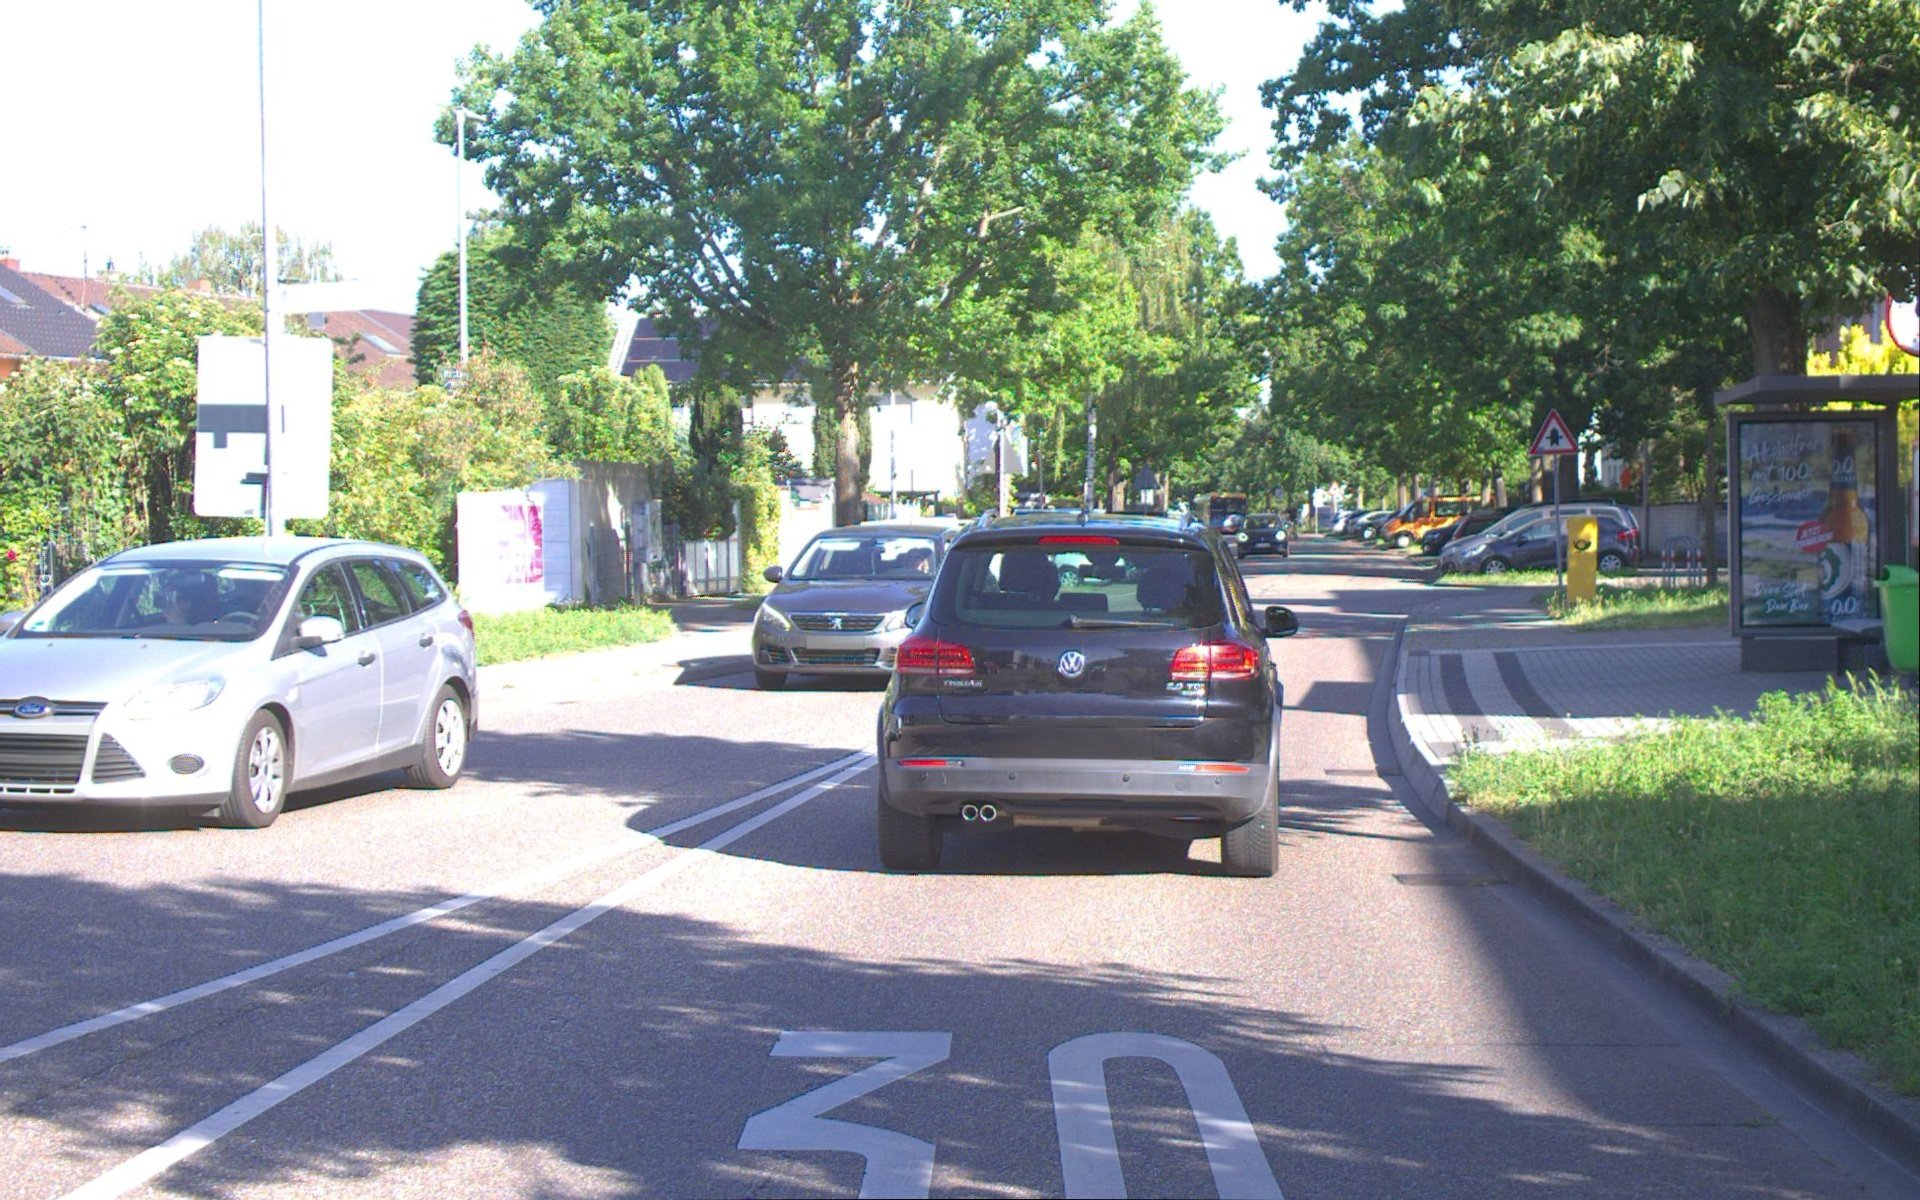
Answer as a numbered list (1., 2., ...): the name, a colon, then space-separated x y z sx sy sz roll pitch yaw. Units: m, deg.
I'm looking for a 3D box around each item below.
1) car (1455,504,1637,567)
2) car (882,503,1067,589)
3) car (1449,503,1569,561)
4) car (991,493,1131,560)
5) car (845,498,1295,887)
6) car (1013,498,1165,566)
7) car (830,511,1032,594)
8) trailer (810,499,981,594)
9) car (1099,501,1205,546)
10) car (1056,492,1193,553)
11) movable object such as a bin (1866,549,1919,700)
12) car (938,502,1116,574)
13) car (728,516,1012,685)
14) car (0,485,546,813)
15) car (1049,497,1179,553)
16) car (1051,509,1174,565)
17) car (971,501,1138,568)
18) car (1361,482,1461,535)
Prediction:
1. car: 13.325 -1.485 78.336 3.988 1.364 1.846 -1 1 7
2. car: 0.295 -1.057 67.107 3.549 1.608 1.853 -1 1 1
3. car: 14.775 -1.831 92.612 3.044 1.502 1.247 -1 1 1
4. car: 2.933 -2.128 99.376 3.987 1.830 1.637 -1 1 3
5. car: 0.682 0.338 17.142 1.930 1.648 4.513 1 2 5
6. car: 3.474 -1.815 91.791 3.987 1.725 2.000 -1 1 4
7. car: -0.521 -0.896 64.517 3.550 1.472 1.808 -1 1 7
8. trailer: -1.160 -0.975 62.226 2.967 1.650 1.396 -1 1 3
9. car: 7.491 -2.973 134.155 3.987 1.678 1.923 -1 1 0
10. car: 5.331 -2.498 111.267 4.390 1.932 1.578 0 0 3
11. movable object such as a bin: 6.535 0.163 23.747 0.368 1.012 0.600 -1 2 -2
12. car: 1.616 -1.484 81.855 3.988 1.664 1.999 -1 2 8
13. car: -0.765 -0.051 32.456 1.994 1.438 4.449 1 2 7
14. car: -4.130 0.189 19.090 2.211 1.585 4.532 0 1 13
15. car: 4.891 -2.365 108.834 3.988 1.714 1.820 0 0 7
16. car: 4.281 -1.773 96.318 3.371 1.485 1.644 -1 1 3
17. car: 2.411 -1.674 87.133 3.988 1.634 1.999 0 2 9
18. car: 18.431 -3.730 140.501 3.988 2.007 1.999 -1 -1 8
